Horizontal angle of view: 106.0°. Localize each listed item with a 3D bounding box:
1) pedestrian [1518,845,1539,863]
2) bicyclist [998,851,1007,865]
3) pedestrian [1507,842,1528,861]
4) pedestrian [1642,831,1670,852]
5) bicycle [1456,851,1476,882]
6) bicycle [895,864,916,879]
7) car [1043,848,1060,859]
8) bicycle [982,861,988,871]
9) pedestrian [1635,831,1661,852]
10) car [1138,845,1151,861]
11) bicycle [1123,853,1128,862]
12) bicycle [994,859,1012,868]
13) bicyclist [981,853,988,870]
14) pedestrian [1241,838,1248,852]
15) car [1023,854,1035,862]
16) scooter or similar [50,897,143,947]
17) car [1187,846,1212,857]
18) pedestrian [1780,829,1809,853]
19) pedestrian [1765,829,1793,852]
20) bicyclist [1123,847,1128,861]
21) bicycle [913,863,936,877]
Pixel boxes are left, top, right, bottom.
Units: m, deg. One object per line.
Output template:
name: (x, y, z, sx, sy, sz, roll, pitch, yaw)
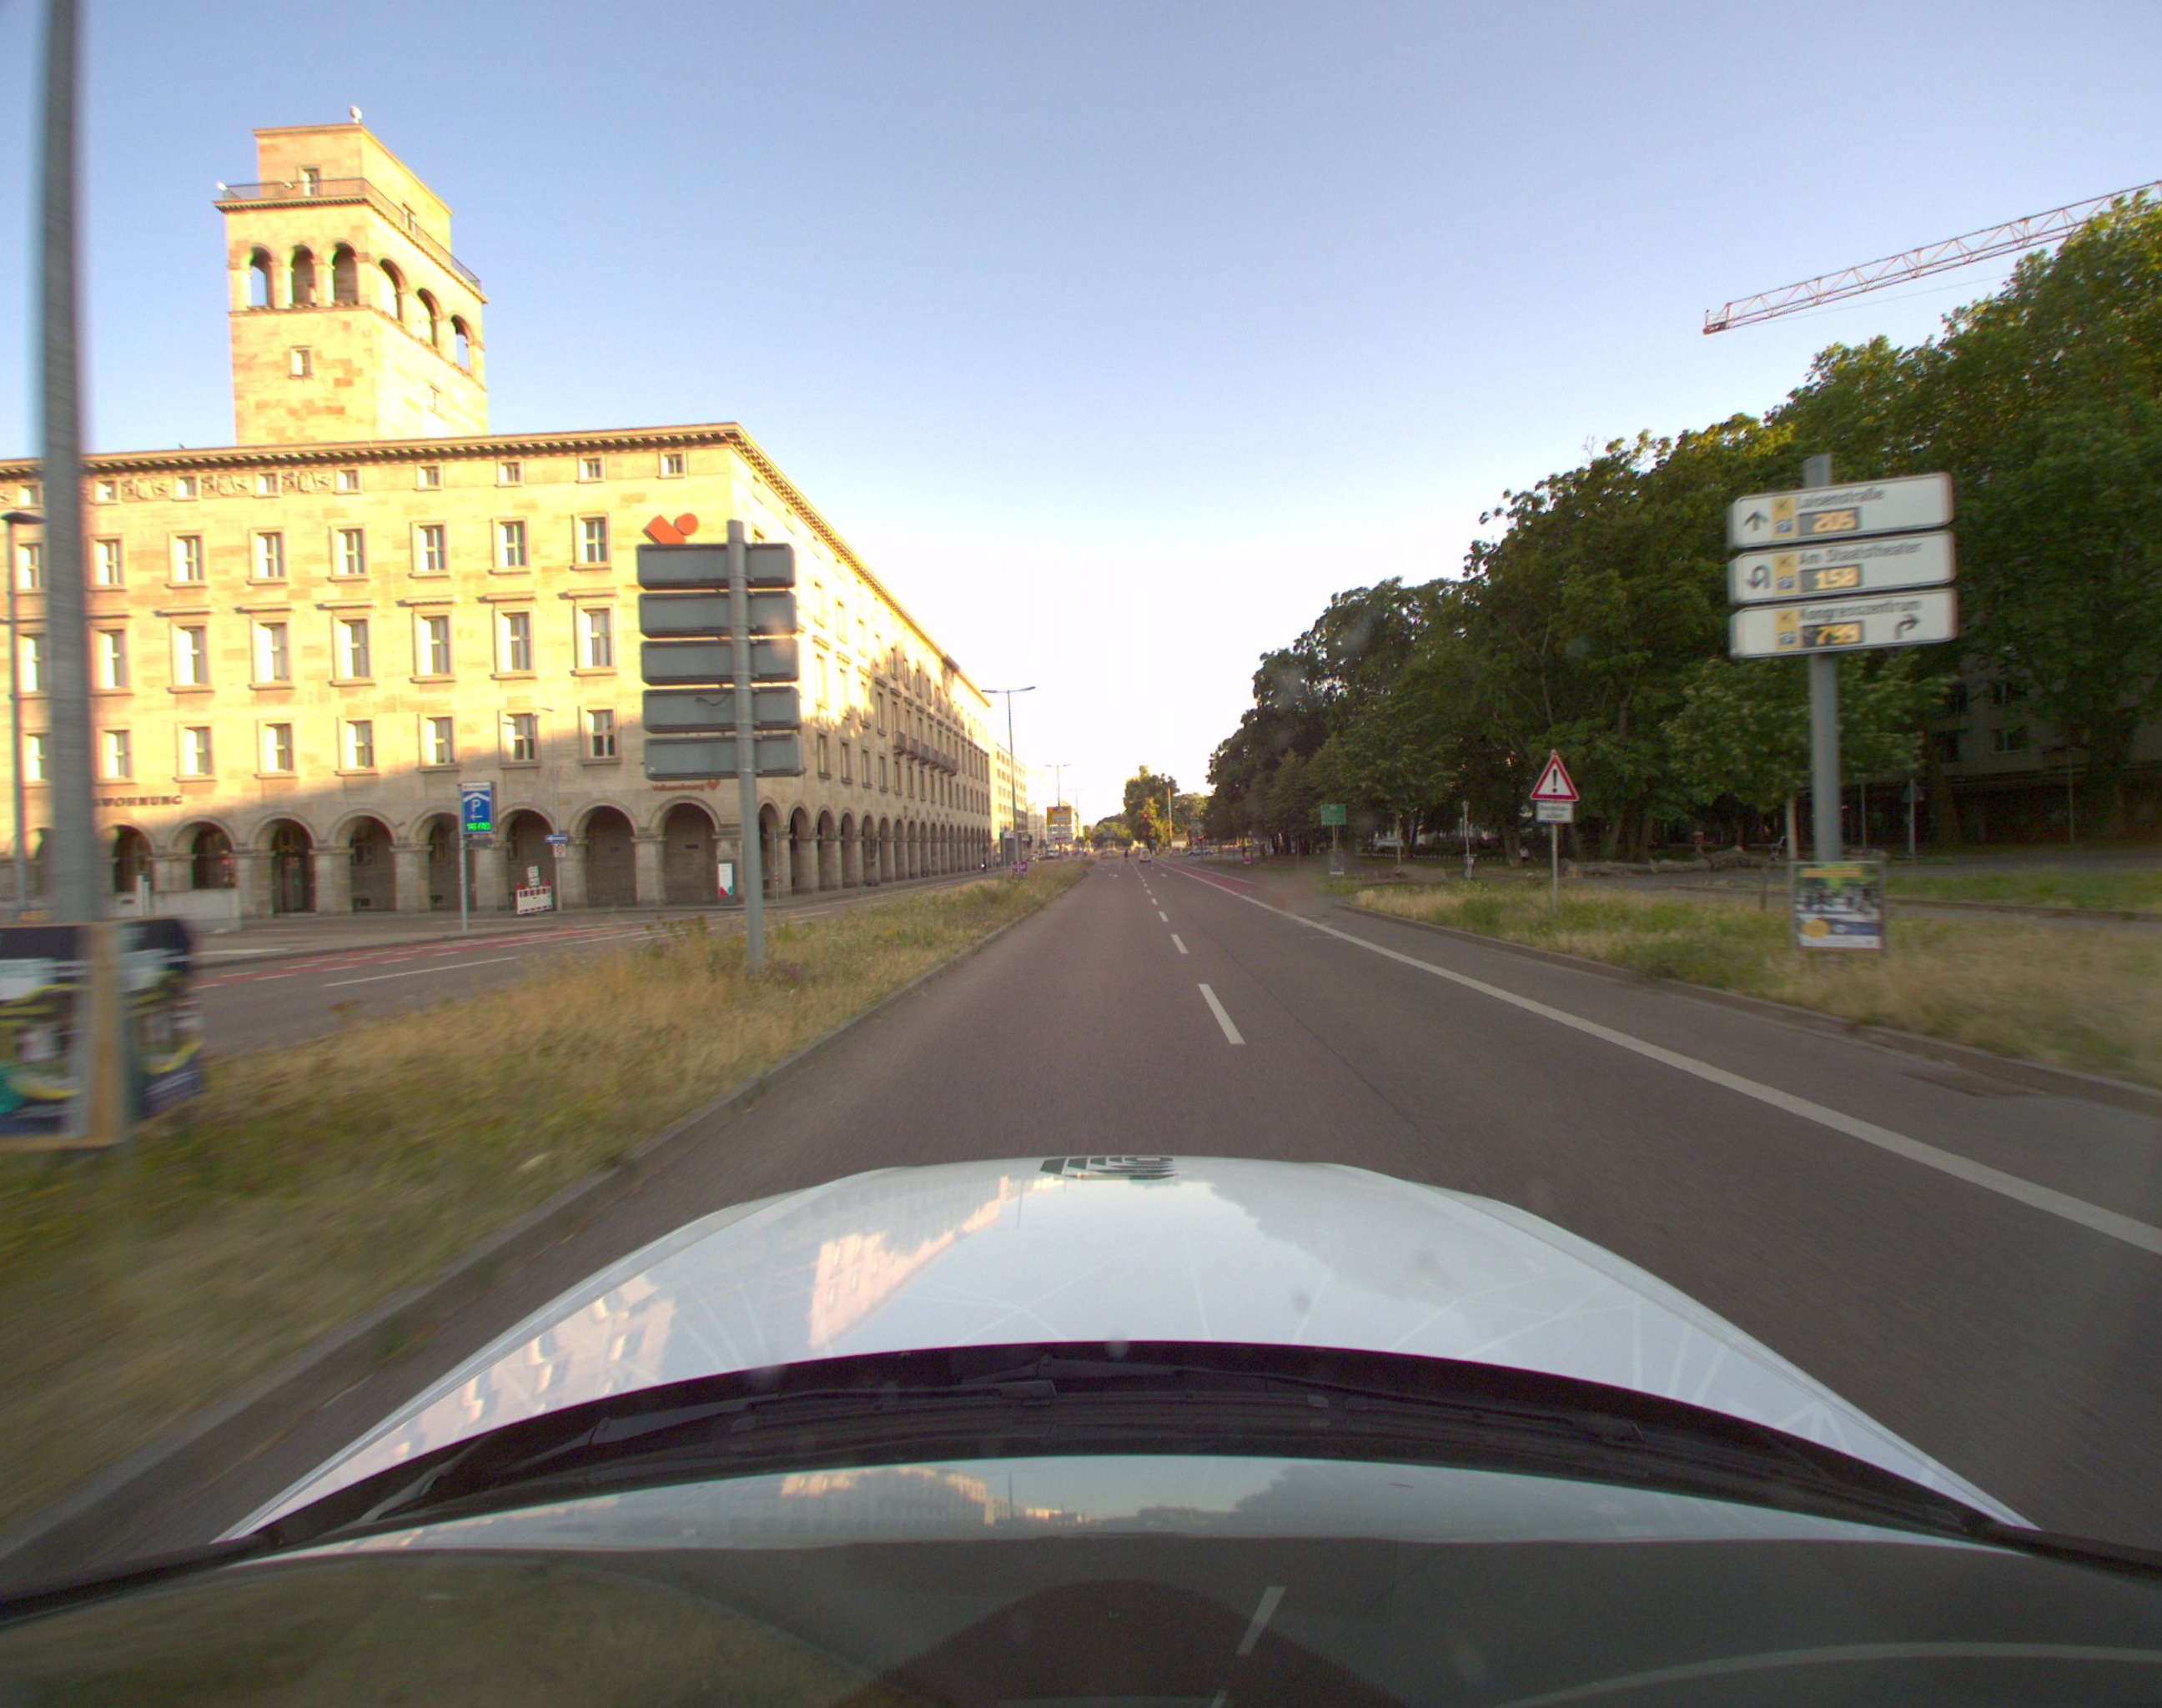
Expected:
pedestrian: (22.474, -0.015, 40.898, 0.681, 0.884, 0.619, -2, 0, -22)
bicyclist: (-10.057, 0.521, 104.120, 0.740, 1.693, 0.769, -2, 0, 19)
pedestrian: (22.205, -0.127, 41.445, 0.682, 0.884, 0.589, -3, 0, -22)
pedestrian: (36.596, -0.778, 51.804, 1.126, 1.260, 0.907, -2, 0, 5)
bicycle: (13.857, 0.433, 29.339, 0.490, 1.005, 1.909, -5, 0, 22)
bicycle: (-13.325, 1.334, 61.940, 0.473, 1.005, 2.016, -2, 0, 21)
car: (-6.854, -0.031, 188.010, 2.161, 2.385, 6.011, -3, -2, 14)
bicycle: (-9.534, 1.198, 80.662, 0.541, 1.005, 1.999, -2, -2, -8)
pedestrian: (36.739, -0.799, 52.750, 1.126, 1.260, 0.727, -2, 0, 5)
car: (7.693, -0.093, 98.067, 1.452, 1.780, 2.568, -2, 1, 5)
bicycle: (5.412, 0.451, 98.727, 0.635, 1.069, 2.070, -1, 0, 3)
bicycle: (-9.987, 1.174, 104.111, 2.041, 1.069, 0.791, -2, 0, 19)
bicyclist: (-9.567, 0.768, 80.816, 0.536, 1.693, 0.746, -2, 0, -8)
pedestrian: (20.269, -1.137, 101.134, 0.692, 1.693, 0.749, -2, 0, 1)
car: (-10.065, 0.765, 157.299, 1.789, 1.475, 4.001, -2, -2, 2)
scooter or similar: (-27.246, 1.872, 22.556, 1.565, 1.224, 0.543, -2, 0, -17)
car: (19.622, -0.431, 135.115, 3.968, 1.574, 2.003, -3, 0, 5)
pedestrian: (36.370, -0.646, 41.507, 0.784, 1.164, 0.766, -2, 0, -3)
pedestrian: (36.296, -0.688, 42.345, 0.784, 1.164, 0.766, -2, 0, -3)
bicyclist: (5.373, 0.032, 98.412, 0.626, 1.693, 0.749, -2, 0, 2)
bicycle: (-12.893, 1.304, 66.970, 0.472, 1.005, 2.018, -2, 0, 38)
